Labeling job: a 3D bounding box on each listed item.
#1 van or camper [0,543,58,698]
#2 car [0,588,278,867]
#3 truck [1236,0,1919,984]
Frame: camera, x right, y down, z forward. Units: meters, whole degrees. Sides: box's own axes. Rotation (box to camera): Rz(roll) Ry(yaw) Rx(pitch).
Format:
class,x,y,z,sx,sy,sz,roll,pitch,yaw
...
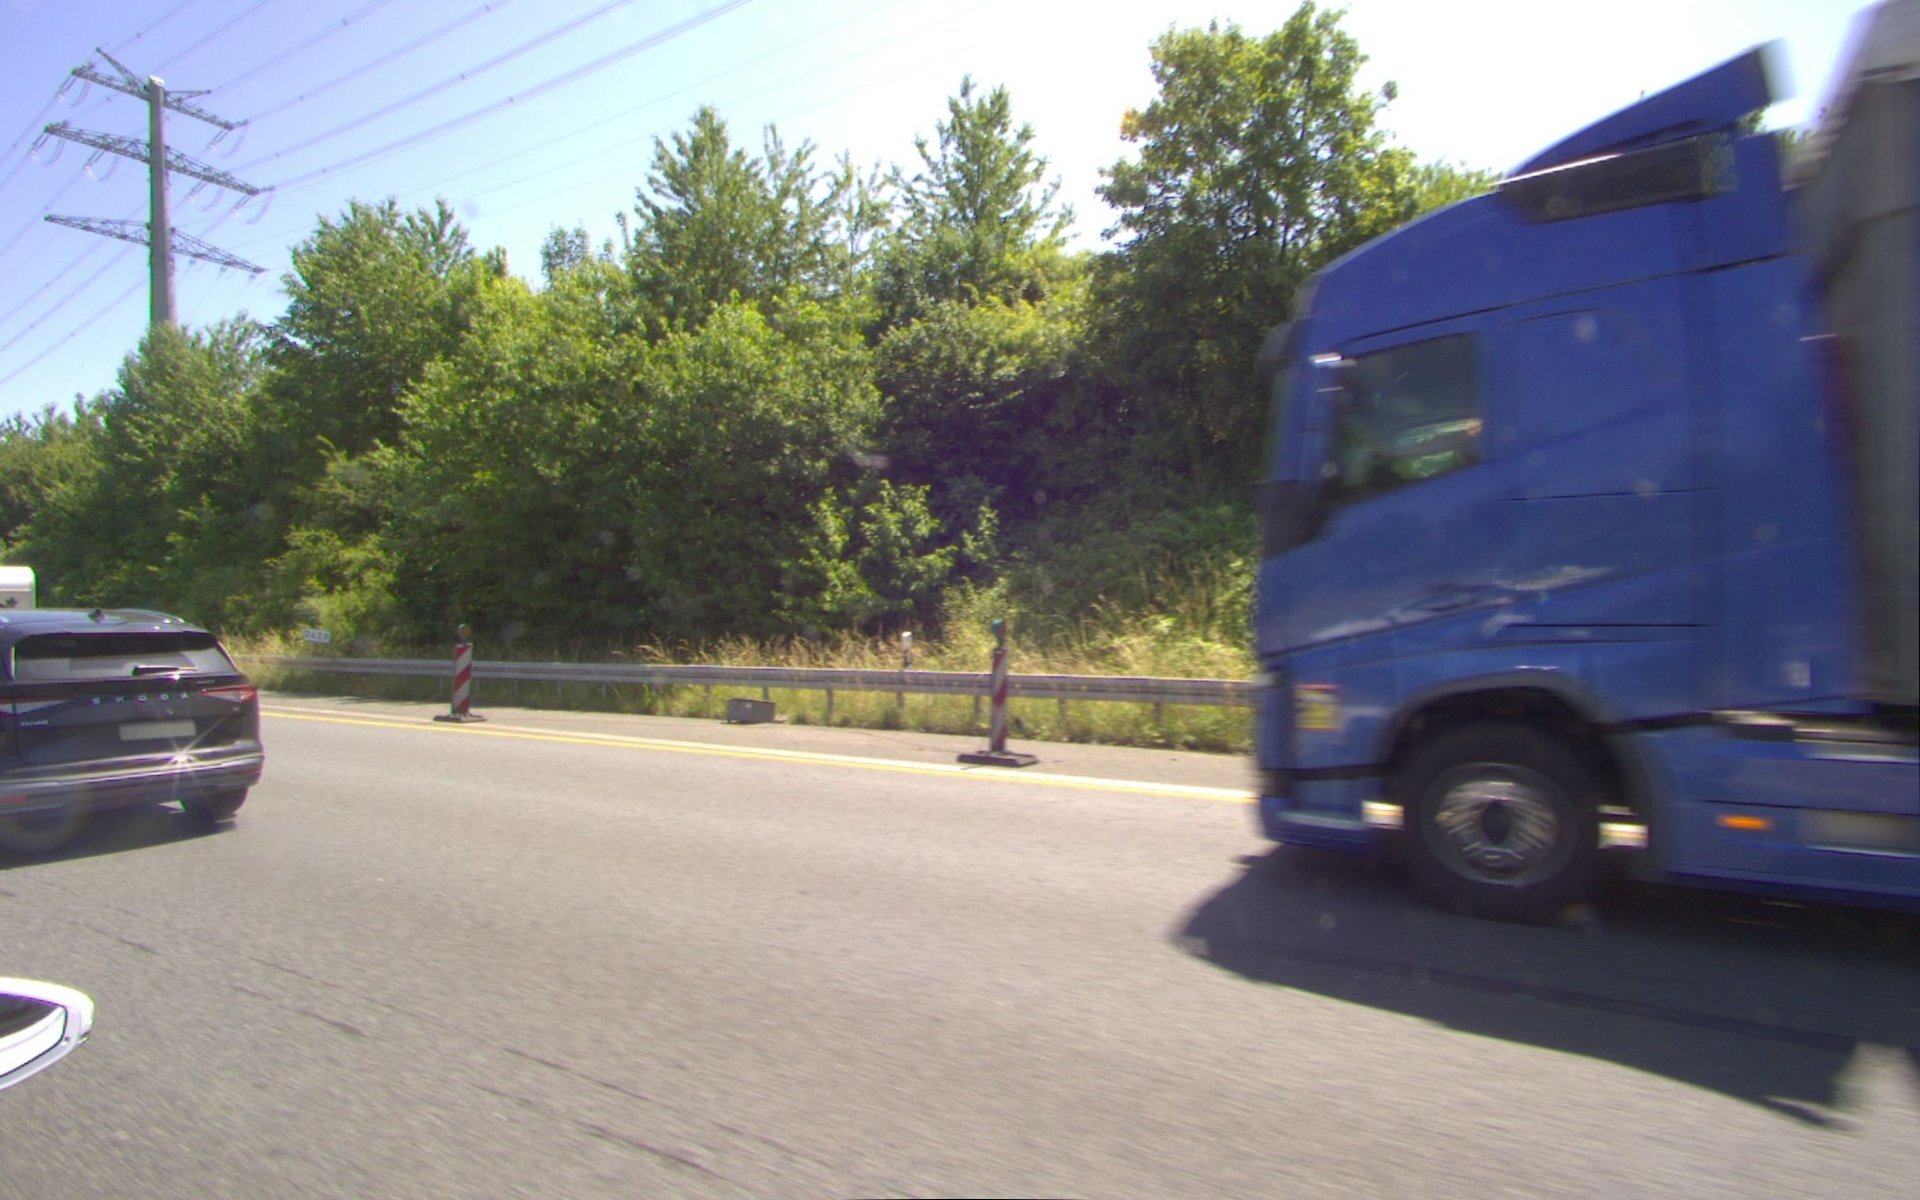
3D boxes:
class,x,y,z,sx,sy,sz,roll,pitch,yaw
van or camper,-22.501,0.462,21.746,7.523,3.082,2.365,-1,-2,32
car,-7.304,0.820,7.728,4.364,1.676,1.699,-1,-2,31
truck,4.584,-0.528,5.178,5.556,4.197,2.781,-1,-2,32
